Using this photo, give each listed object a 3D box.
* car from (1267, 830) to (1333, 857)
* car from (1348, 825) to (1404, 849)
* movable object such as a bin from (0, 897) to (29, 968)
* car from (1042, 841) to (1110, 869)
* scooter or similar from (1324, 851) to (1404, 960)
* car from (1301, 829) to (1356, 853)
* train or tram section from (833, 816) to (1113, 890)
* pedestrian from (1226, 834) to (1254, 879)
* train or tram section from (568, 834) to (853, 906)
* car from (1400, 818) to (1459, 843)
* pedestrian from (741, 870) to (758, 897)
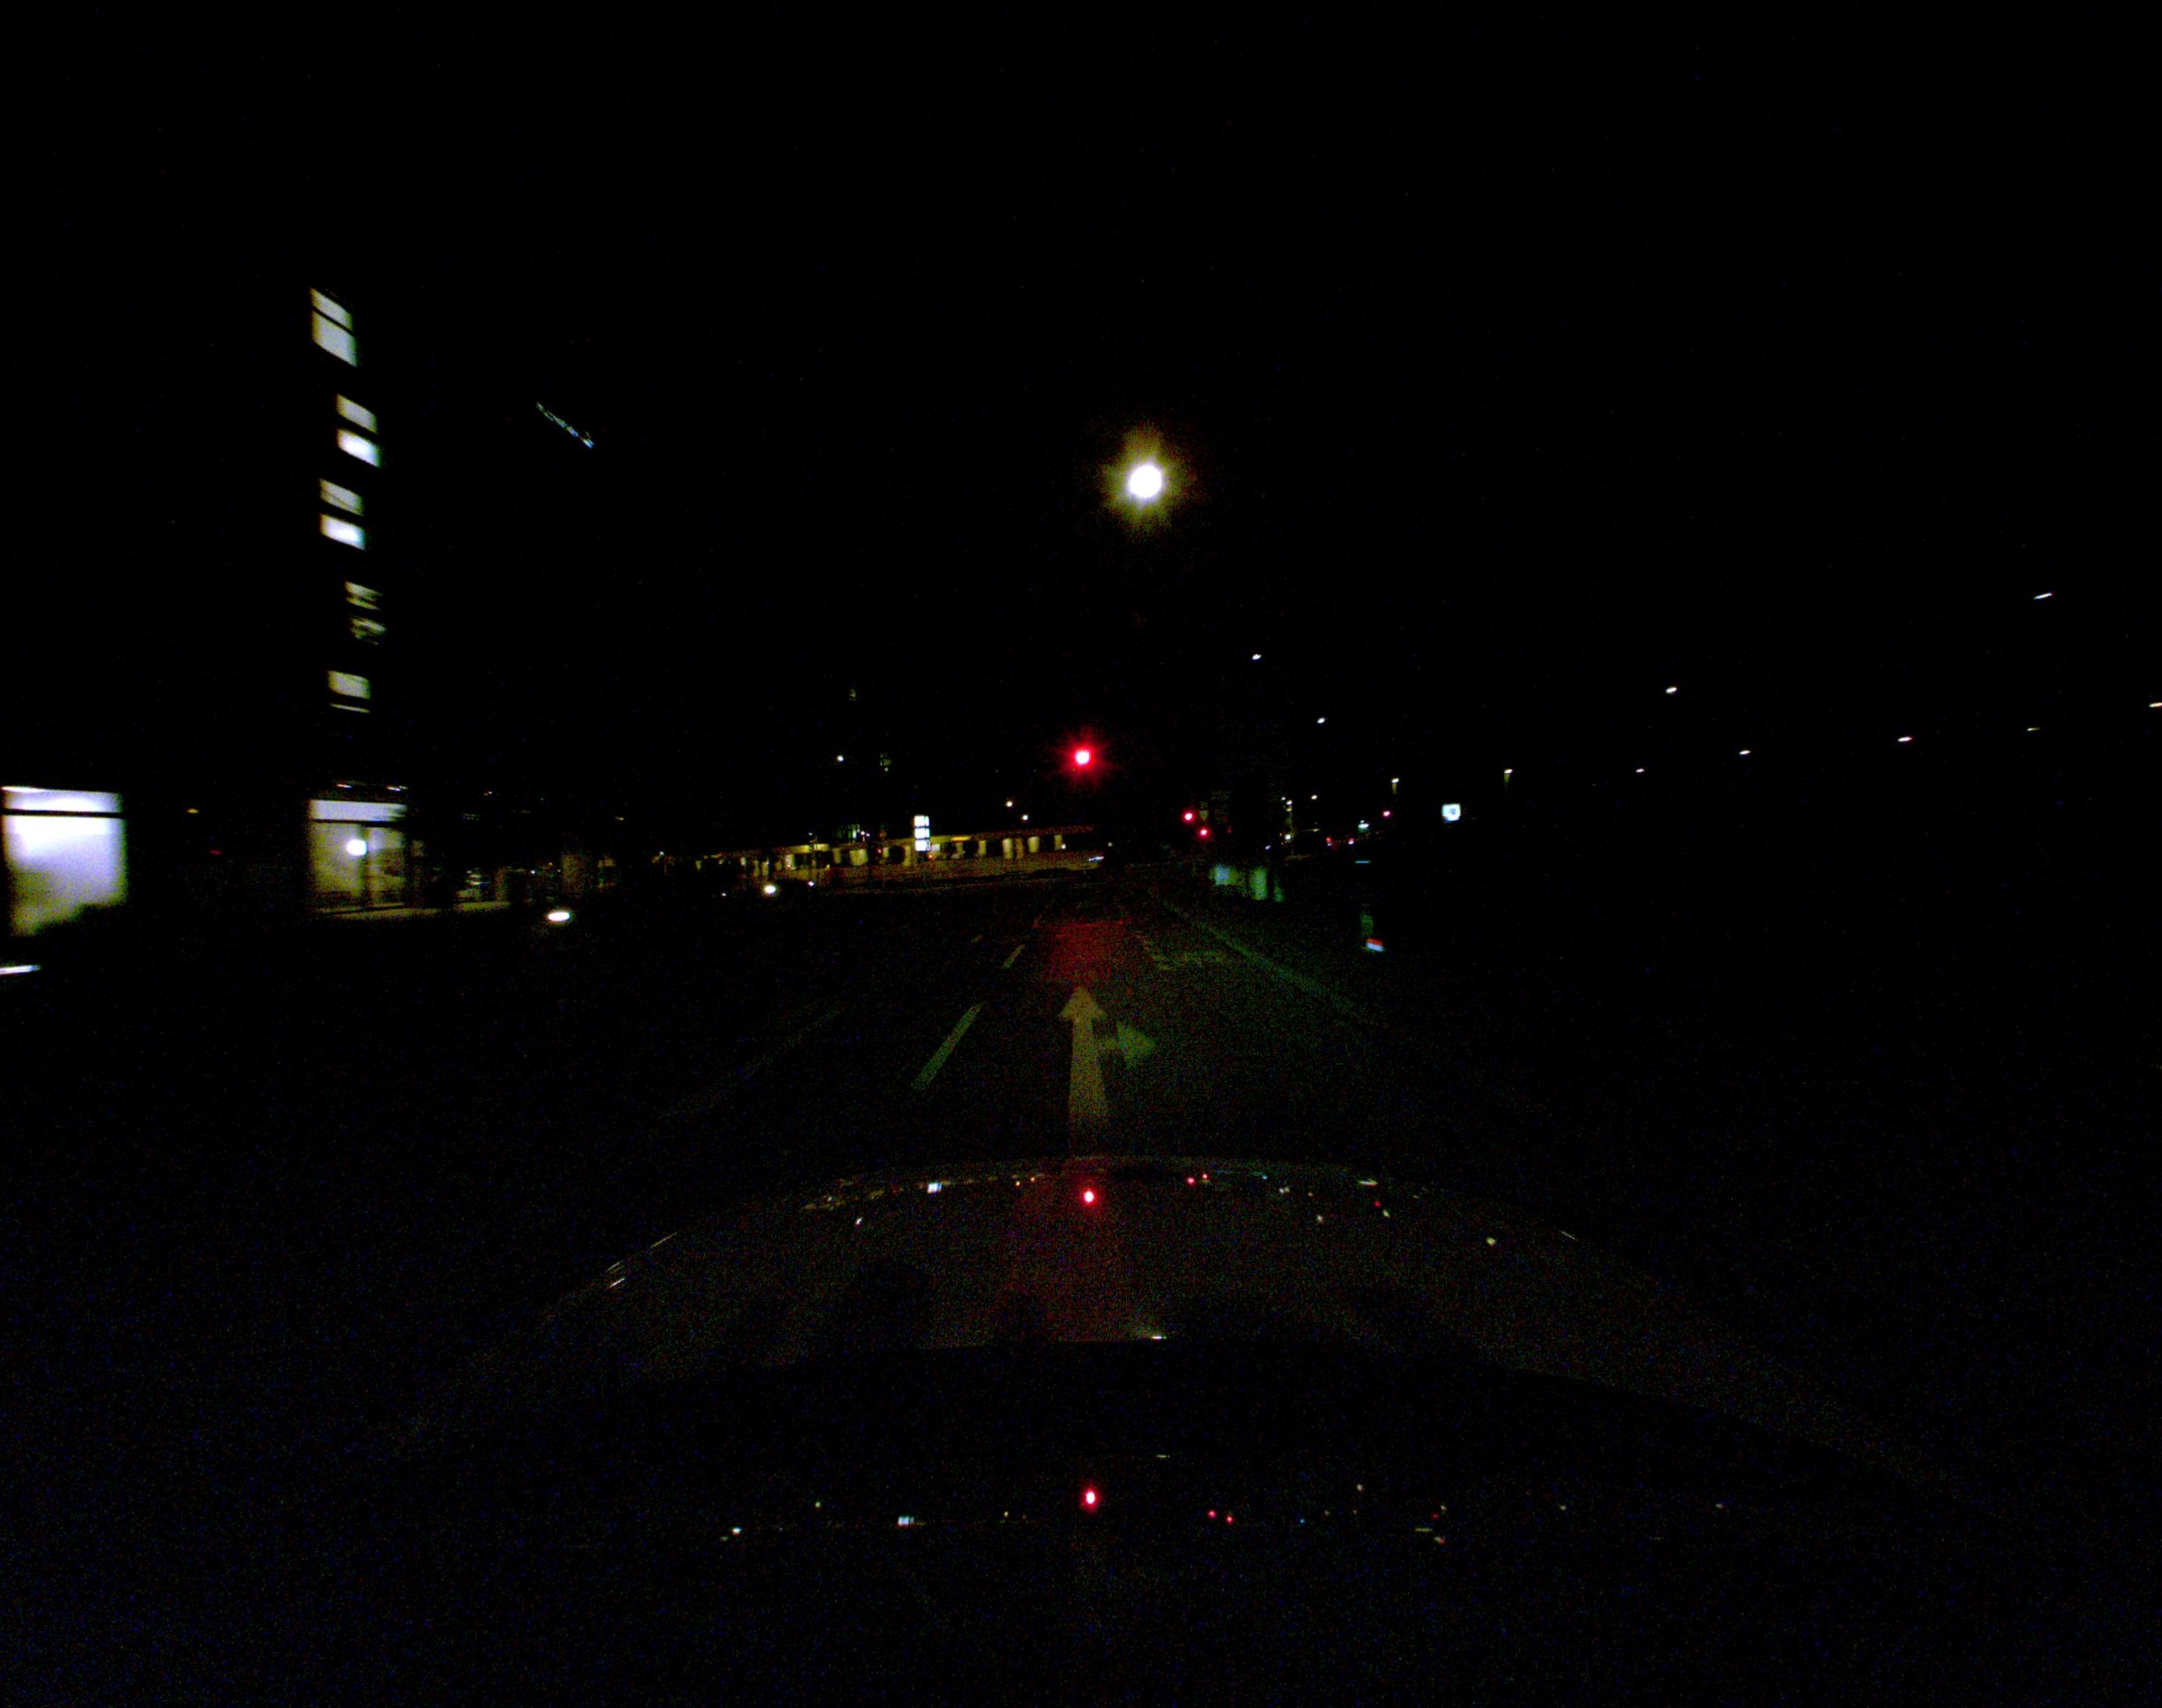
[{"bbox_3d":[17.011,-0.838,63.464,4.590,1.640,2.003,-5,0,5],"label":"car"},{"bbox_3d":[23.005,-1.301,63.684,3.743,1.527,1.763,-5,0,9],"label":"car"},{"bbox_3d":[-22.676,1.661,16.927,0.438,1.451,0.809,-4,1,4],"label":"movable object such as a bin"},{"bbox_3d":[-0.954,0.209,159.896,12.403,4.709,4.786,-3,0,-14],"label":"car"},{"bbox_3d":[3.569,0.611,10.354,0.492,1.262,1.320,-5,0,2],"label":"scooter or similar"},{"bbox_3d":[20.372,-1.077,67.207,4.035,1.615,1.874,-5,0,8],"label":"car"},{"bbox_3d":[-7.480,-0.033,57.142,19.078,3.823,2.928,-4,0,5],"label":"train or tram section"},{"bbox_3d":[6.402,0.099,32.776,0.895,1.712,0.776,-5,-1,6],"label":"pedestrian"},{"bbox_3d":[-26.741,1.170,58.931,19.695,3.861,2.945,-4,0,5],"label":"train or tram section"},{"bbox_3d":[28.303,-1.908,66.284,3.962,1.574,1.891,-6,0,10],"label":"car"},{"bbox_3d":[-22.489,1.990,55.223,0.762,1.737,0.659,-4,0,1],"label":"pedestrian"}]
